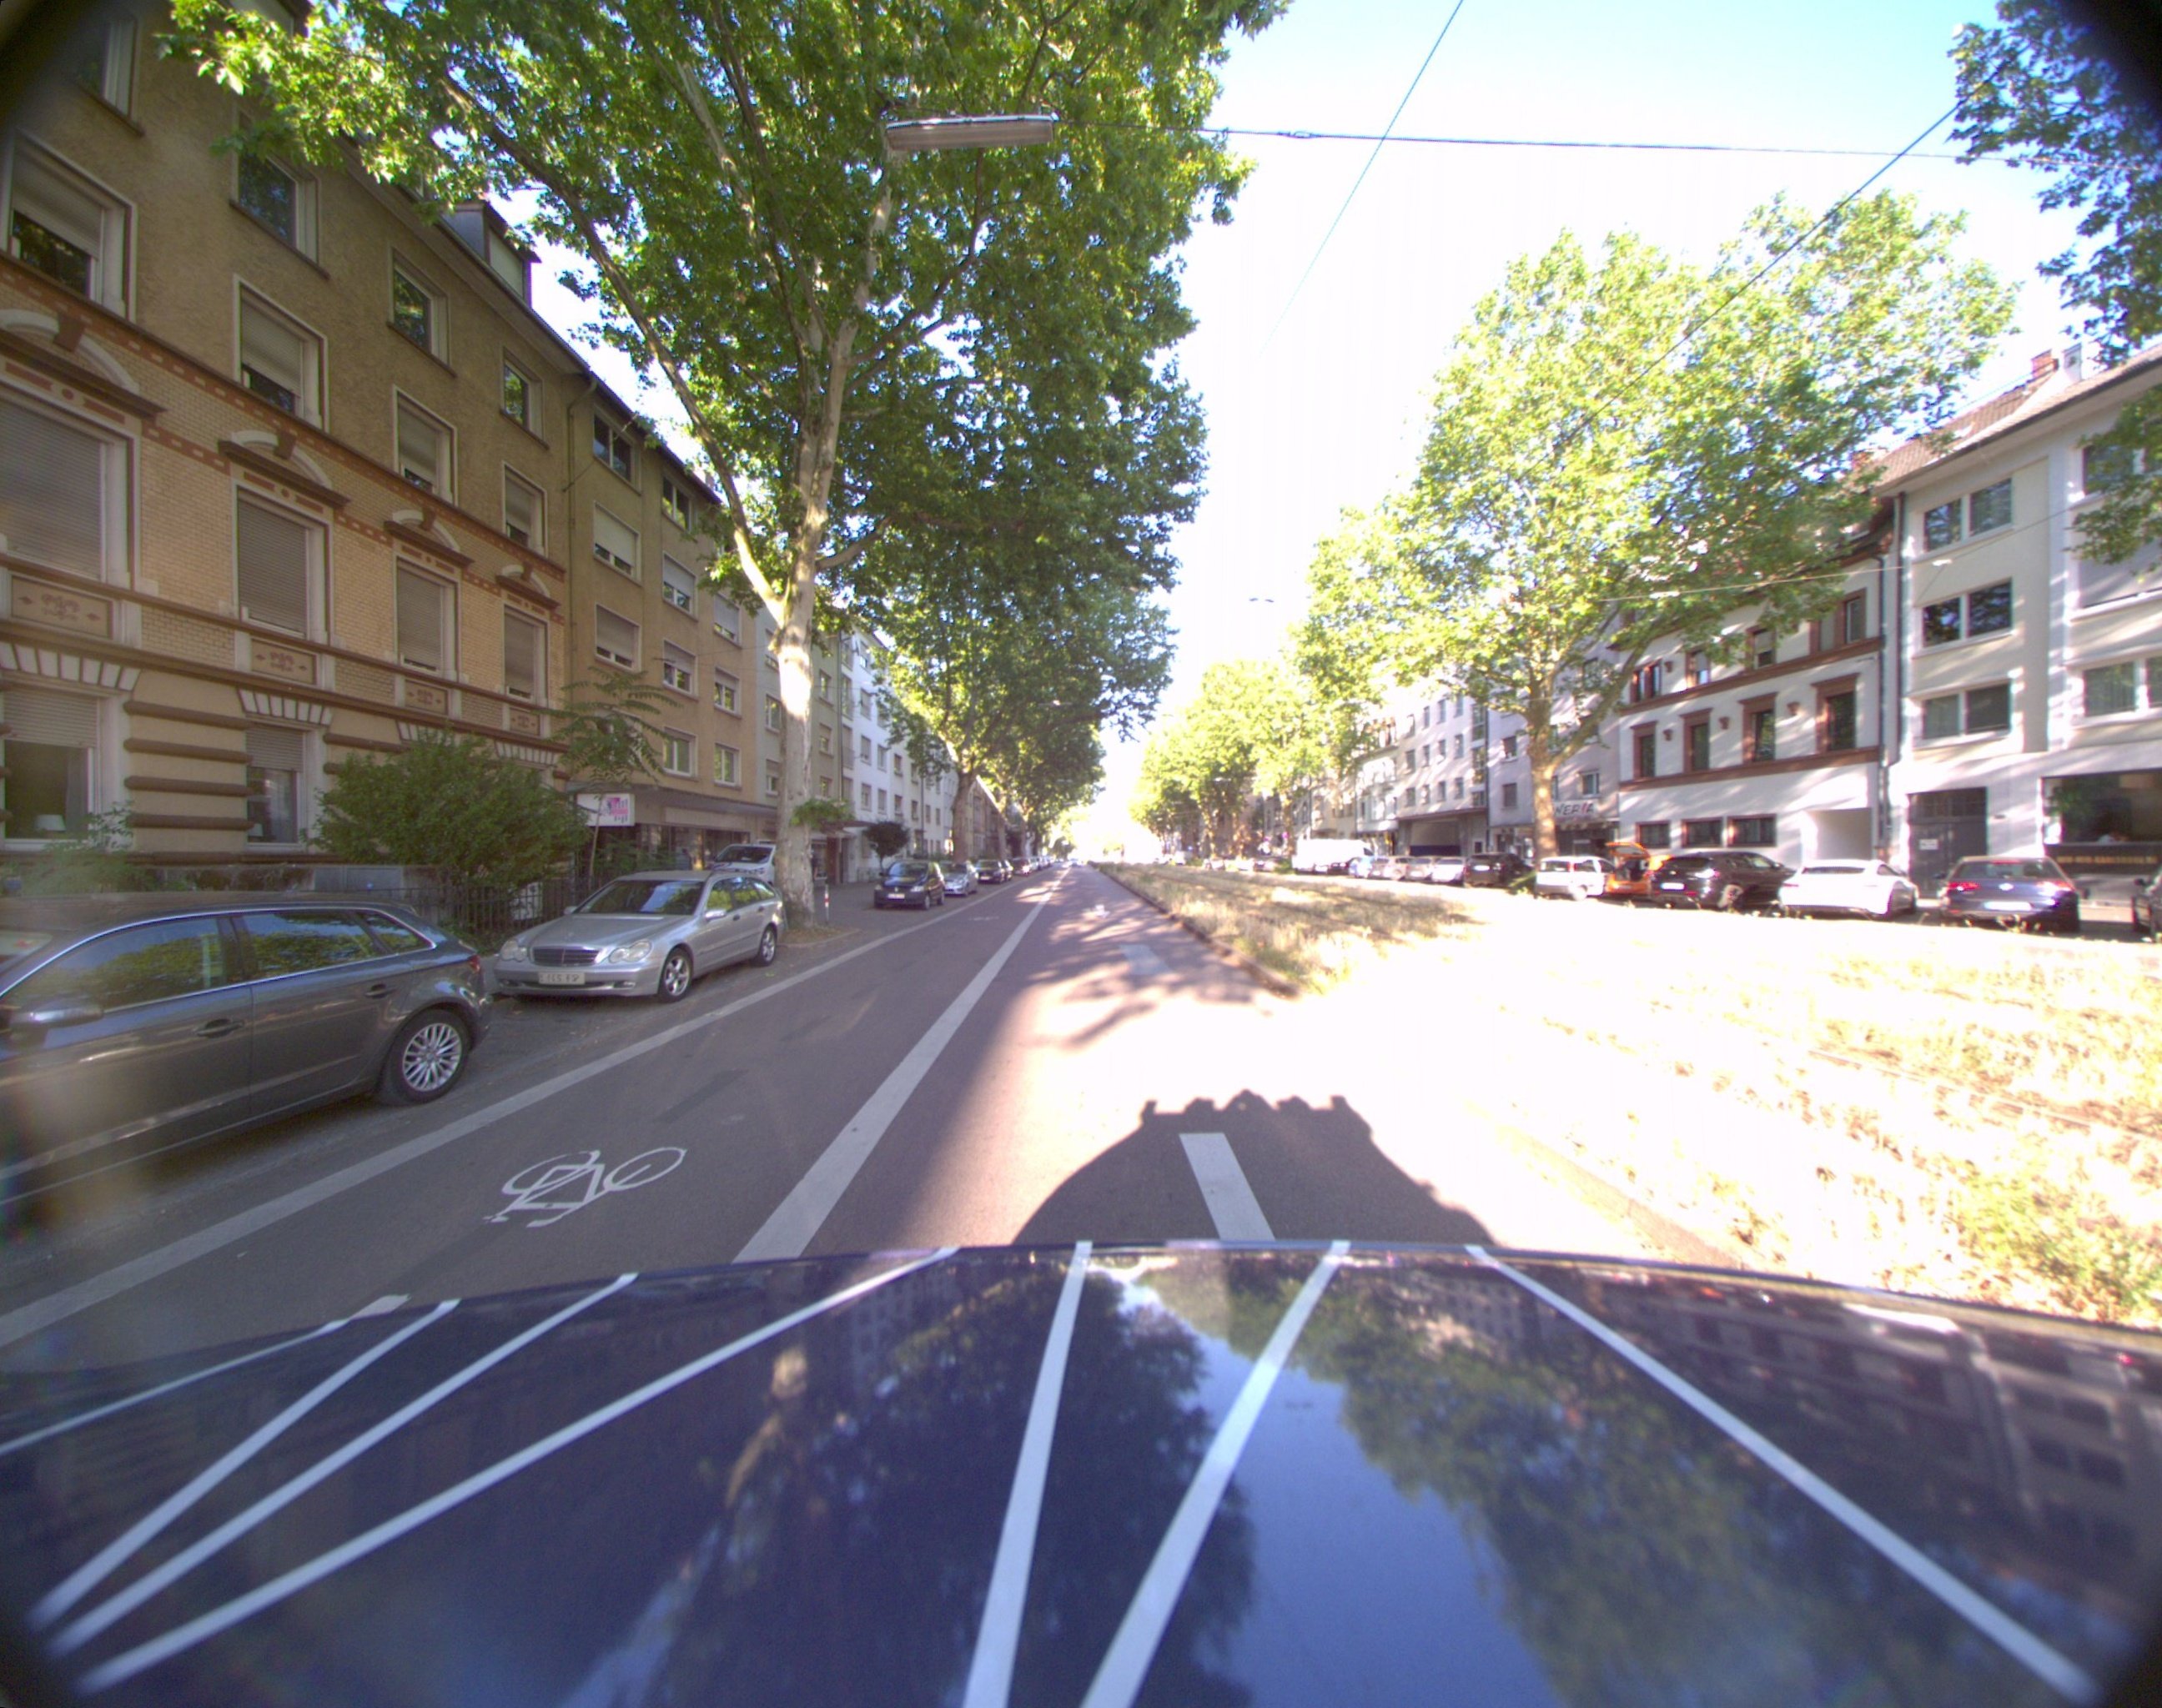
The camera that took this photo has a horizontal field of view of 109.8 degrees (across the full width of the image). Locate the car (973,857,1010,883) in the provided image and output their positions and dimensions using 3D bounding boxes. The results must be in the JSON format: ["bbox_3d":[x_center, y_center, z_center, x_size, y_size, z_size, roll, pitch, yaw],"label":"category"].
[{"bbox_3d":[-5.318,0.924,45.689,1.713,1.407,4.363,2,0,0],"label":"car"}]

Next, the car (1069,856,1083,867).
[{"bbox_3d":[-0.717,1.192,114.925,1.893,1.501,4.000,-2,1,1],"label":"car"}]

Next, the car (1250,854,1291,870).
[{"bbox_3d":[19.217,0.813,76.943,4.008,1.524,1.821,1,-1,-36],"label":"car"}]

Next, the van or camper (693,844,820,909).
[{"bbox_3d":[-10.437,0.645,24.968,1.947,1.911,5.390,0,0,-1],"label":"van or camper"}]

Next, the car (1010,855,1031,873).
[{"bbox_3d":[-5.283,0.865,66.500,1.748,1.455,4.024,-1,0,-5],"label":"car"}]

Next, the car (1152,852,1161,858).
[{"bbox_3d":[20.183,0.342,202.892,1.998,1.412,4.000,-2,1,2],"label":"car"}]

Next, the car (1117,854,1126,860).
[{"bbox_3d":[10.932,0.860,205.012,1.997,1.477,4.002,-2,1,8],"label":"car"}]

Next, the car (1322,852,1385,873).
[{"bbox_3d":[19.704,0.631,54.958,4.004,1.482,1.996,0,0,-22],"label":"car"}]

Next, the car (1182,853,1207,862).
[{"bbox_3d":[18.972,0.599,127.212,4.006,1.240,1.726,-4,1,-34],"label":"car"}]

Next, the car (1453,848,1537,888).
[{"bbox_3d":[18.685,0.618,34.248,4.008,1.651,1.995,-1,0,-41],"label":"car"}]

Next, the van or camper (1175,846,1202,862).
[{"bbox_3d":[18.358,0.036,129.735,4.371,2.386,2.196,-4,2,-40],"label":"van or camper"}]

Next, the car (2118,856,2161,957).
[{"bbox_3d":[19.057,0.820,12.700,4.007,1.433,1.717,-3,1,-41],"label":"car"}]

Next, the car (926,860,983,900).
[{"bbox_3d":[-5.311,1.058,32.489,1.699,1.533,4.776,0,0,-1],"label":"car"}]

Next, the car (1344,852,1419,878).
[{"bbox_3d":[18.961,0.669,48.053,3.998,1.412,1.857,-3,1,-4],"label":"car"}]

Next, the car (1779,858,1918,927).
[{"bbox_3d":[18.652,0.863,18.418,4.212,1.325,1.718,-3,1,-36],"label":"car"}]

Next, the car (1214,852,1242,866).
[{"bbox_3d":[18.829,0.643,97.421,1.726,1.643,4.009,-1,-1,40],"label":"car"}]

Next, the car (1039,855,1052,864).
[{"bbox_3d":[-5.614,0.841,119.813,1.790,1.458,3.569,1,0,0],"label":"car"}]

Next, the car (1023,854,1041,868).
[{"bbox_3d":[-5.548,0.799,86.418,1.702,1.517,4.194,0,0,0],"label":"car"}]

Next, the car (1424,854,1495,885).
[{"bbox_3d":[18.889,0.752,37.863,4.008,1.377,1.907,-2,0,-45],"label":"car"}]

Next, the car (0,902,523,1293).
[{"bbox_3d":[-5.181,1.068,3.673,1.714,1.388,4.321,0,0,1],"label":"car"}]

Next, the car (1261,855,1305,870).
[{"bbox_3d":[18.697,0.823,70.276,4.014,1.349,1.797,1,0,-37],"label":"car"}]

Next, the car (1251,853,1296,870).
[{"bbox_3d":[18.643,0.727,73.563,4.169,1.583,1.932,2,-1,-36],"label":"car"}]

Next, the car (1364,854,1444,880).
[{"bbox_3d":[19.171,0.766,45.097,4.002,1.483,1.948,0,0,-13],"label":"car"}]

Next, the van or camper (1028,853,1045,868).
[{"bbox_3d":[-5.414,0.771,92.717,1.790,1.710,4.379,1,0,1],"label":"van or camper"}]

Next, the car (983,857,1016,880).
[{"bbox_3d":[-5.404,0.932,50.579,1.713,1.407,4.363,2,0,0],"label":"car"}]

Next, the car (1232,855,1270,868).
[{"bbox_3d":[18.207,0.792,81.447,3.687,1.382,1.822,-1,0,-31],"label":"car"}]

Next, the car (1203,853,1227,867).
[{"bbox_3d":[15.040,0.653,85.216,1.825,1.382,4.483,2,0,-1],"label":"car"}]

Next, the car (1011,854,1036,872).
[{"bbox_3d":[-5.485,0.816,73.275,1.999,1.557,4.663,2,1,0],"label":"car"}]

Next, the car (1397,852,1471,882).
[{"bbox_3d":[19.062,0.675,40.966,4.006,1.414,1.752,-3,1,-34],"label":"car"}]

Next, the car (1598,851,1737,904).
[{"bbox_3d":[19.498,0.740,25.278,4.003,1.471,1.774,-3,1,-20],"label":"car"}]

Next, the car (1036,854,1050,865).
[{"bbox_3d":[-5.489,0.793,109.740,1.790,1.609,3.829,1,0,0],"label":"car"}]

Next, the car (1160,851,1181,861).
[{"bbox_3d":[18.311,0.392,154.823,4.007,2.002,1.995,-3,1,-42],"label":"car"}]

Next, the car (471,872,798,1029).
[{"bbox_3d":[-5.342,1.025,9.940,1.678,1.443,4.570,0,0,-2],"label":"car"}]

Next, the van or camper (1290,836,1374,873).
[{"bbox_3d":[18.980,0.023,57.467,5.974,2.631,2.175,-1,0,-20],"label":"van or camper"}]

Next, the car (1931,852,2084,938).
[{"bbox_3d":[19.362,0.779,16.041,4.007,1.433,1.797,-3,1,-43],"label":"car"}]

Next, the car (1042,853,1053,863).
[{"bbox_3d":[-5.601,0.683,127.102,1.791,1.585,4.013,1,0,-2],"label":"car"}]

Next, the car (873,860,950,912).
[{"bbox_3d":[-5.427,0.972,24.734,1.658,1.536,3.999,0,0,-1],"label":"car"}]

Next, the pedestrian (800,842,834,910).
[{"bbox_3d":[-7.963,0.646,22.950,0.684,2.002,1.012,0,1,-2],"label":"pedestrian"}]

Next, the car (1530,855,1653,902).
[{"bbox_3d":[18.039,0.818,26.828,4.369,1.440,1.655,-2,1,-26],"label":"car"}]

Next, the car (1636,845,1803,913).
[{"bbox_3d":[18.298,0.692,21.767,4.370,1.776,1.989,1,1,-26],"label":"car"}]
